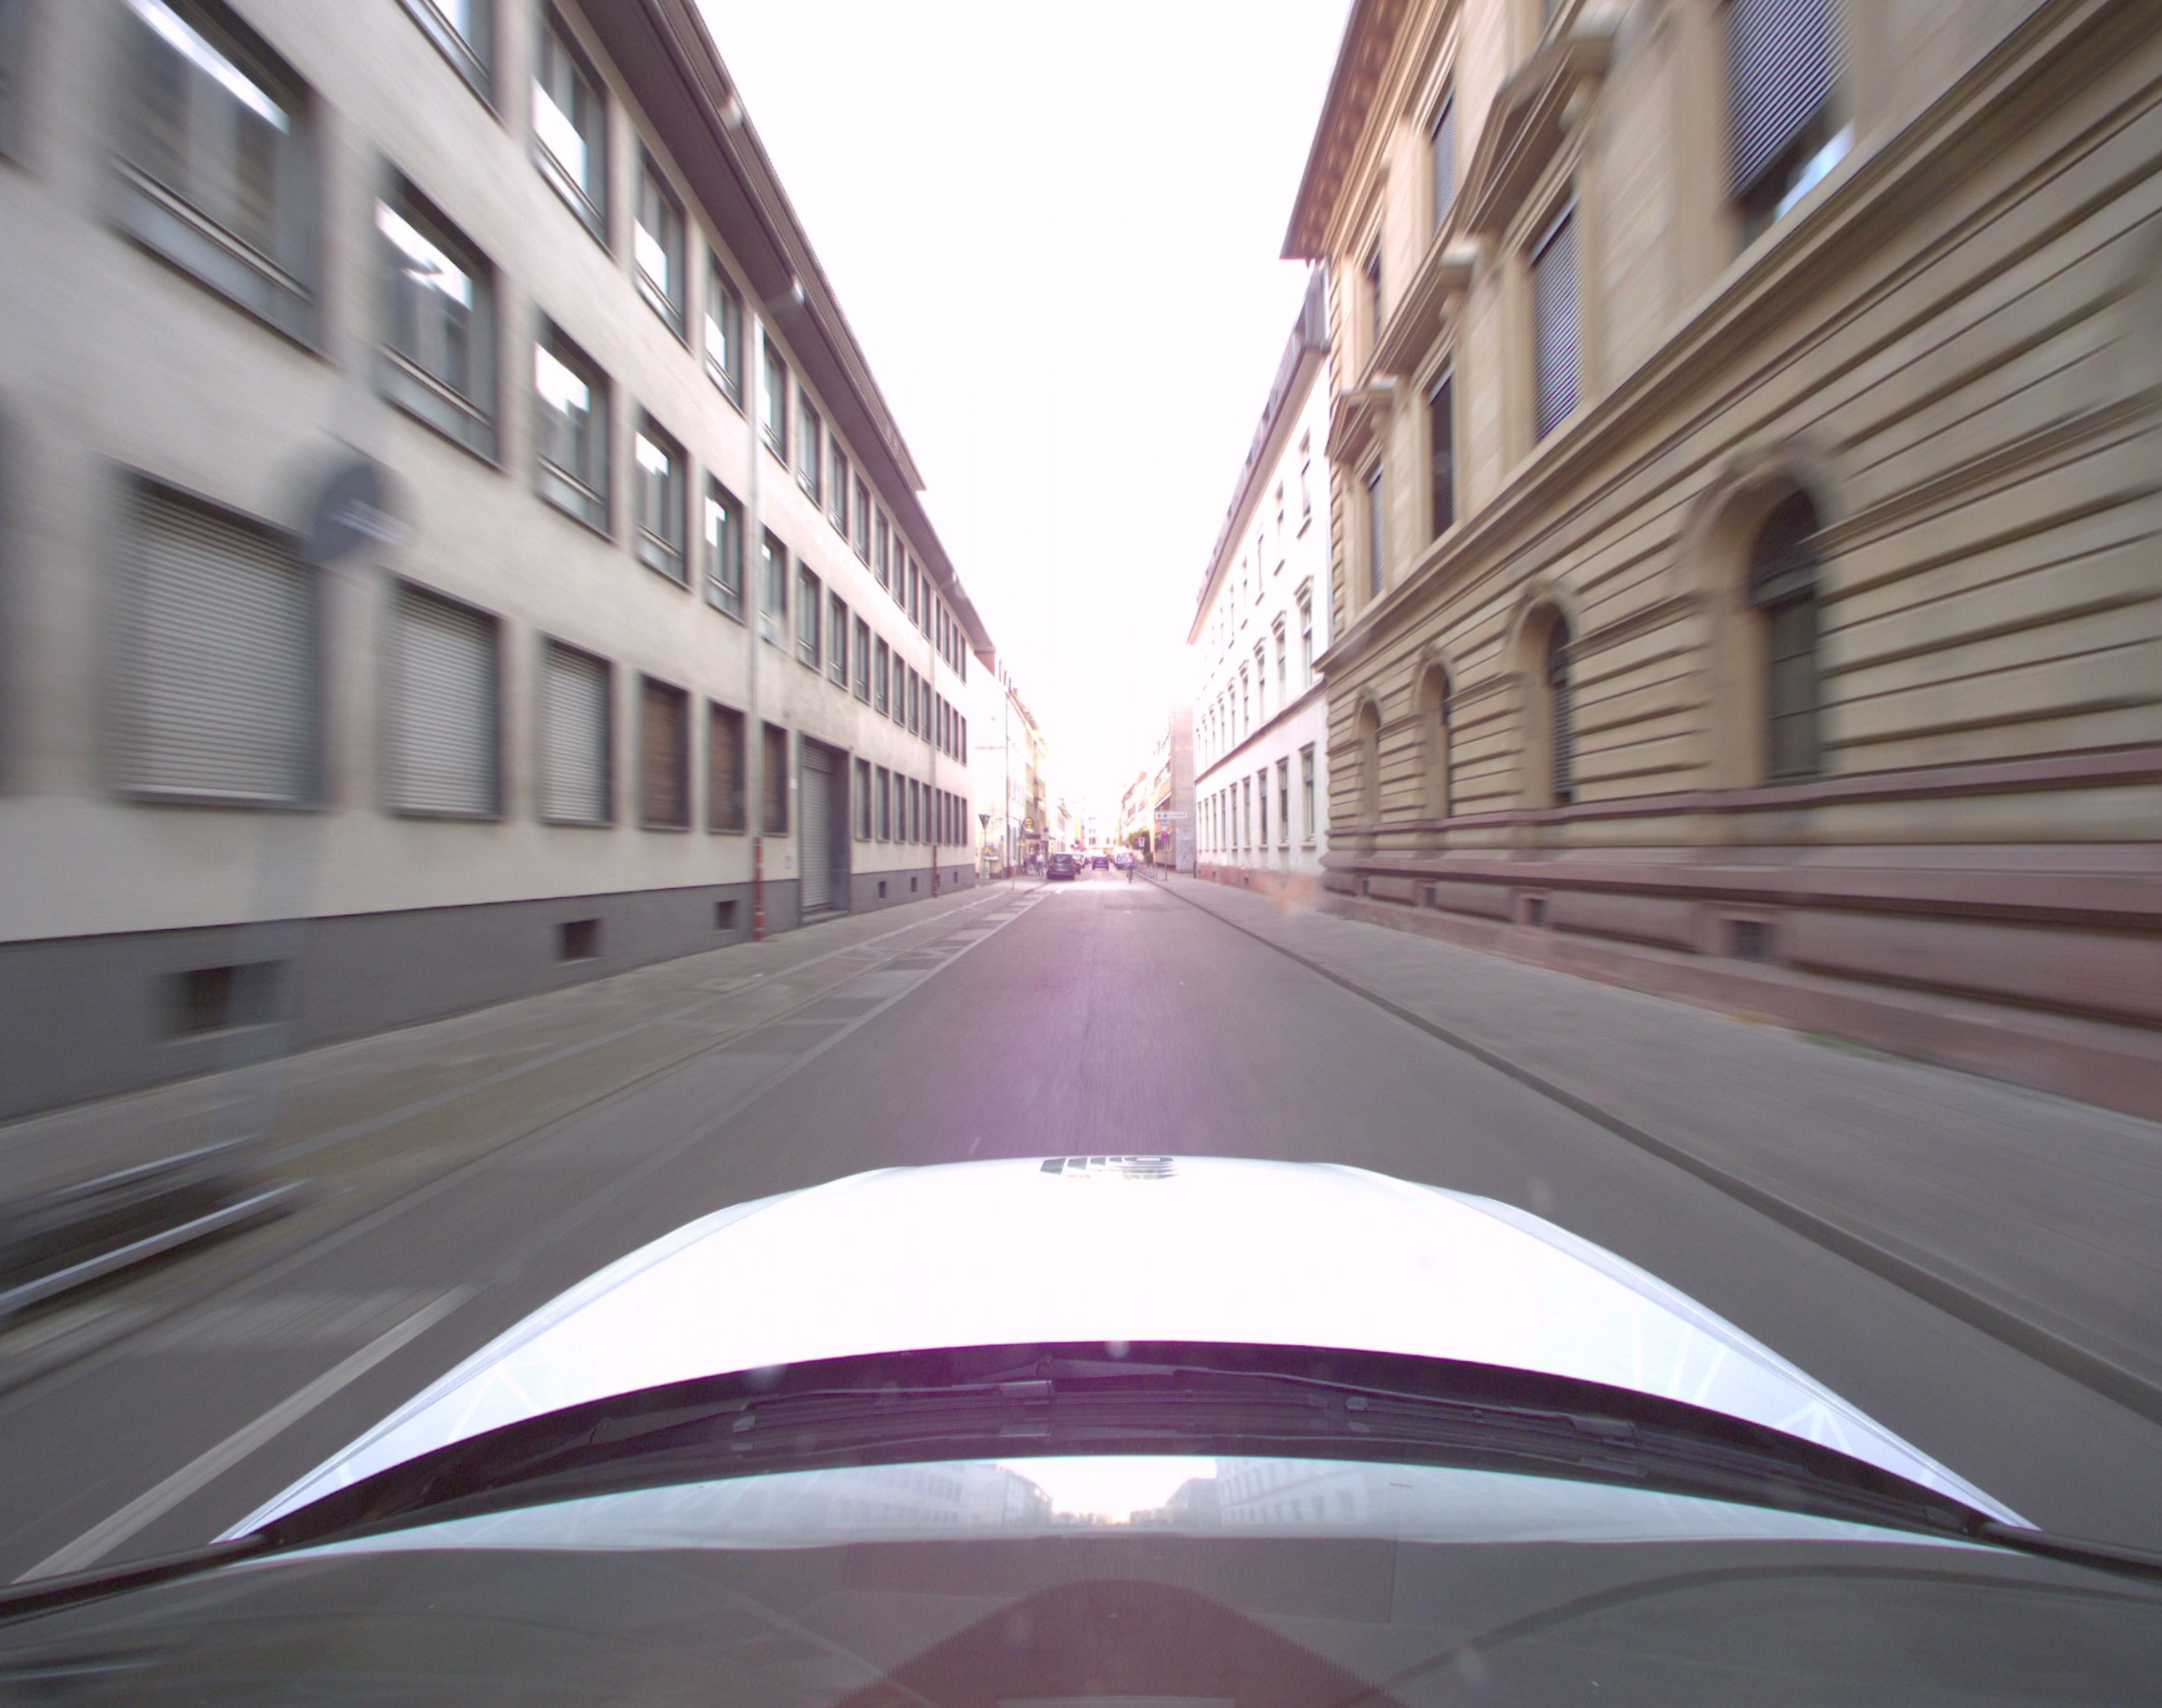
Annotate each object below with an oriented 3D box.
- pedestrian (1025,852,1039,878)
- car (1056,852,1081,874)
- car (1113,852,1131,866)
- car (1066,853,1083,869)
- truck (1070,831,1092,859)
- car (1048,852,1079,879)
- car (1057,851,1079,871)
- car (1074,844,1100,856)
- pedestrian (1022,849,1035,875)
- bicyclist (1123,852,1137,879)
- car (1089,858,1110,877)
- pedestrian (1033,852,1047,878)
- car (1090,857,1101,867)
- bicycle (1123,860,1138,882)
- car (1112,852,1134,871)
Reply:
[{"bbox_3d":[-3.624,0.799,59.803,0.727,1.911,0.761,-1,-1,20],"label":"pedestrian"},{"bbox_3d":[-1.097,0.758,70.234,1.989,1.816,3.995,-1,0,-3],"label":"car"},{"bbox_3d":[5.359,0.667,108.001,1.988,1.886,4.168,-1,0,-2],"label":"car"},{"bbox_3d":[-0.747,0.860,96.742,1.987,1.816,3.999,-1,0,-1],"label":"car"},{"bbox_3d":[0.027,-1.171,108.795,2.762,3.505,9.614,-1,-1,0],"label":"truck"},{"bbox_3d":[-1.168,0.789,55.312,1.987,1.728,3.999,-1,0,0],"label":"car"},{"bbox_3d":[-1.236,0.658,78.255,1.988,1.816,3.997,-1,0,-2],"label":"car"},{"bbox_3d":[0.927,-0.589,127.337,3.984,1.771,2.010,-1,-1,-8],"label":"car"},{"bbox_3d":[-3.790,0.598,58.279,0.757,1.829,0.731,-1,-1,-17],"label":"pedestrian"},{"bbox_3d":[2.912,0.662,48.243,0.786,1.583,1.012,-1,0,1],"label":"bicyclist"},{"bbox_3d":[1.936,1.359,85.470,1.988,1.904,3.997,-1,0,-2],"label":"car"},{"bbox_3d":[-2.976,0.787,59.367,0.727,1.911,0.761,-1,-1,20],"label":"pedestrian"},{"bbox_3d":[2.888,1.599,158.879,1.986,2.014,4.001,0,-1,2],"label":"car"},{"bbox_3d":[2.929,0.996,48.301,0.791,1.277,2.579,-1,0,2],"label":"bicycle"},{"bbox_3d":[4.571,0.795,88.646,1.988,1.992,3.997,-1,0,-2],"label":"car"}]
